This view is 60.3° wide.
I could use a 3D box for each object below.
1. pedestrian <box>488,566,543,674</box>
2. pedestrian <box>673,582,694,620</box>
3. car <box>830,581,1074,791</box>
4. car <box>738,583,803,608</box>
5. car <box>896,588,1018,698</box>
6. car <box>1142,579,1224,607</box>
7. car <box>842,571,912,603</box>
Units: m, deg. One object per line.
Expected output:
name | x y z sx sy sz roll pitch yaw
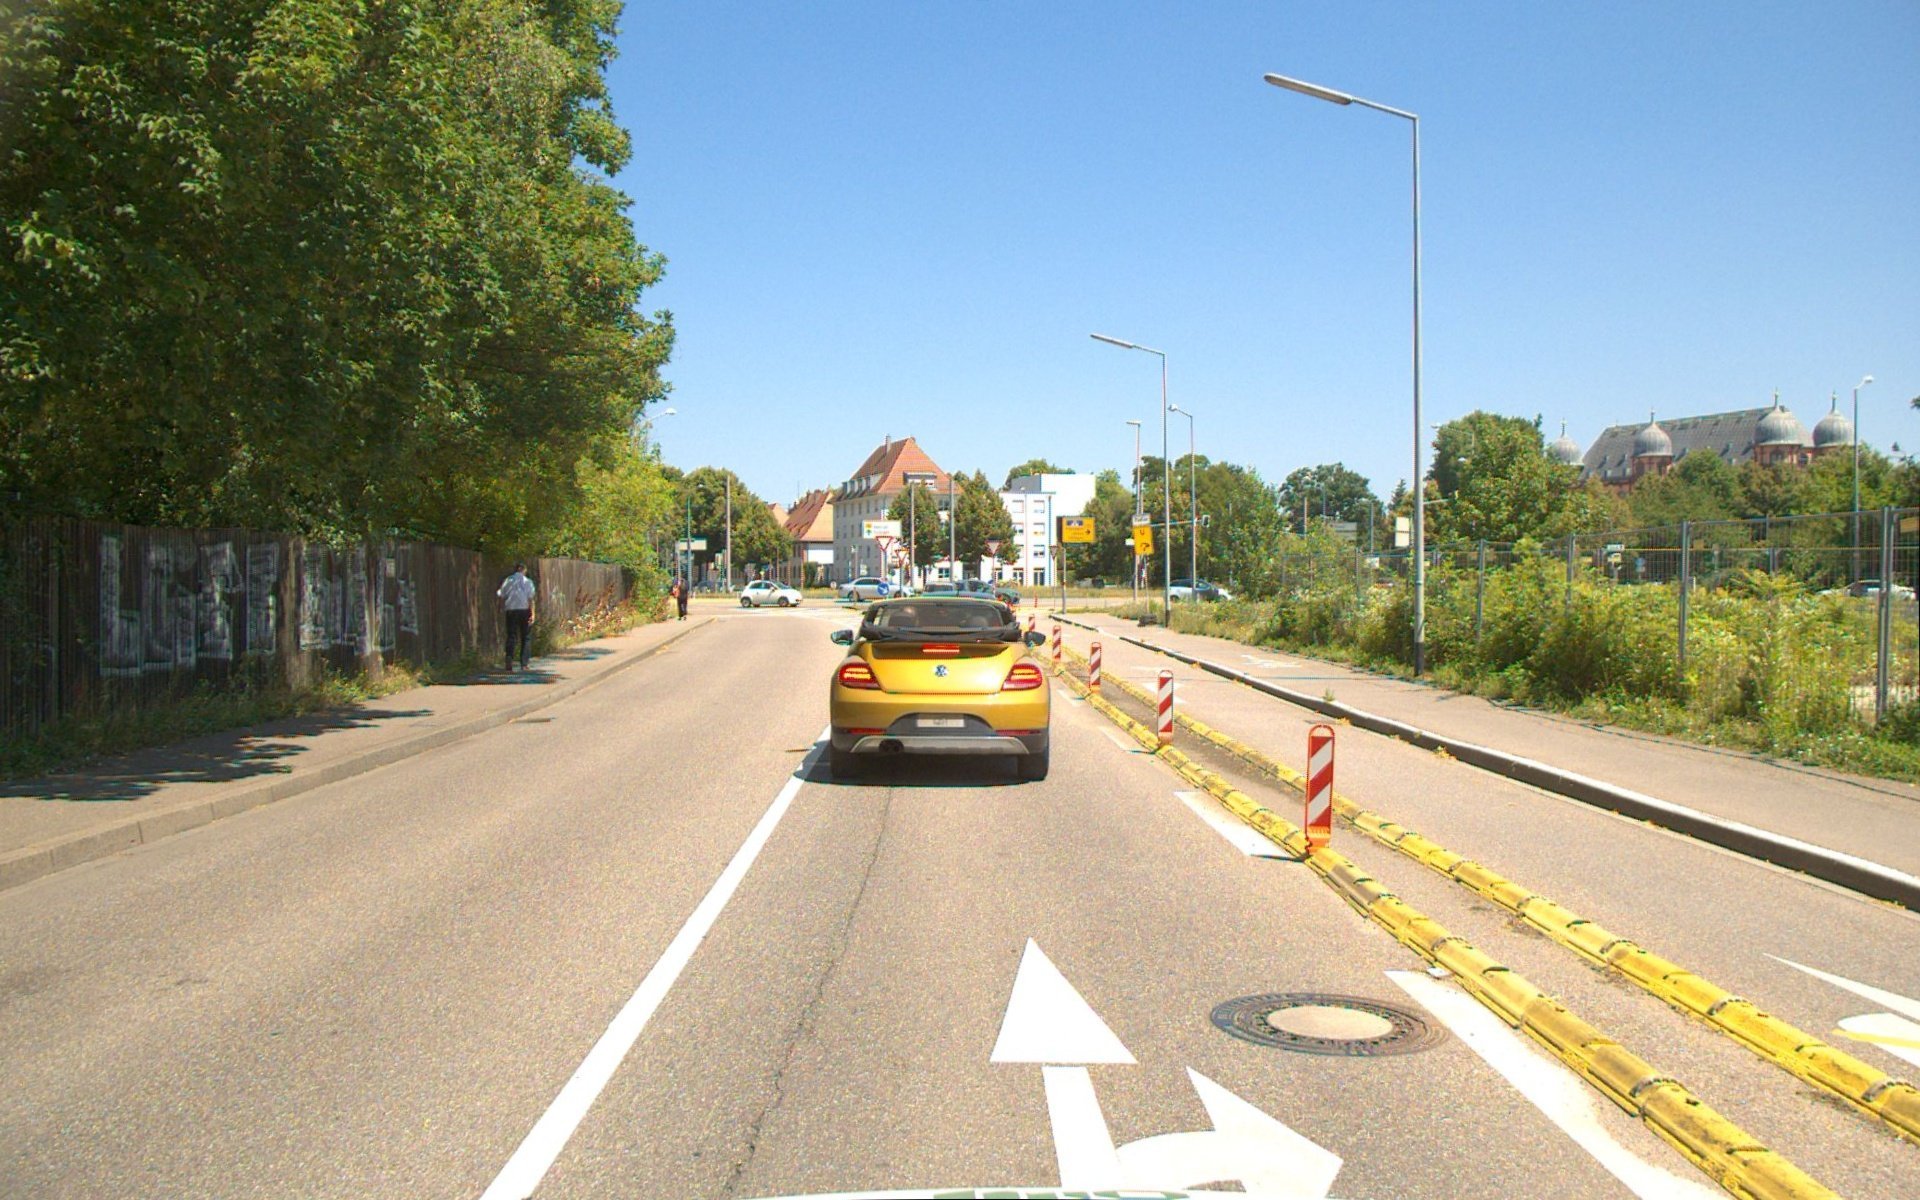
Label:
pedestrian | -7.454 0.323 27.763 0.708 1.755 0.817 -1 1 -5
pedestrian | -10.936 0.032 65.347 0.708 1.479 0.817 -1 1 -5
car | -0.137 0.605 14.013 1.754 1.461 3.812 -1 1 -3
car | -10.580 -0.274 92.493 3.364 1.297 1.203 -1 1 8
car | -0.061 0.590 25.447 1.691 1.468 4.000 -1 1 -1
car | 12.038 -0.405 89.598 4.346 1.381 1.538 -1 1 6
car | -4.994 -0.789 99.569 3.986 1.774 1.568 -1 1 7
